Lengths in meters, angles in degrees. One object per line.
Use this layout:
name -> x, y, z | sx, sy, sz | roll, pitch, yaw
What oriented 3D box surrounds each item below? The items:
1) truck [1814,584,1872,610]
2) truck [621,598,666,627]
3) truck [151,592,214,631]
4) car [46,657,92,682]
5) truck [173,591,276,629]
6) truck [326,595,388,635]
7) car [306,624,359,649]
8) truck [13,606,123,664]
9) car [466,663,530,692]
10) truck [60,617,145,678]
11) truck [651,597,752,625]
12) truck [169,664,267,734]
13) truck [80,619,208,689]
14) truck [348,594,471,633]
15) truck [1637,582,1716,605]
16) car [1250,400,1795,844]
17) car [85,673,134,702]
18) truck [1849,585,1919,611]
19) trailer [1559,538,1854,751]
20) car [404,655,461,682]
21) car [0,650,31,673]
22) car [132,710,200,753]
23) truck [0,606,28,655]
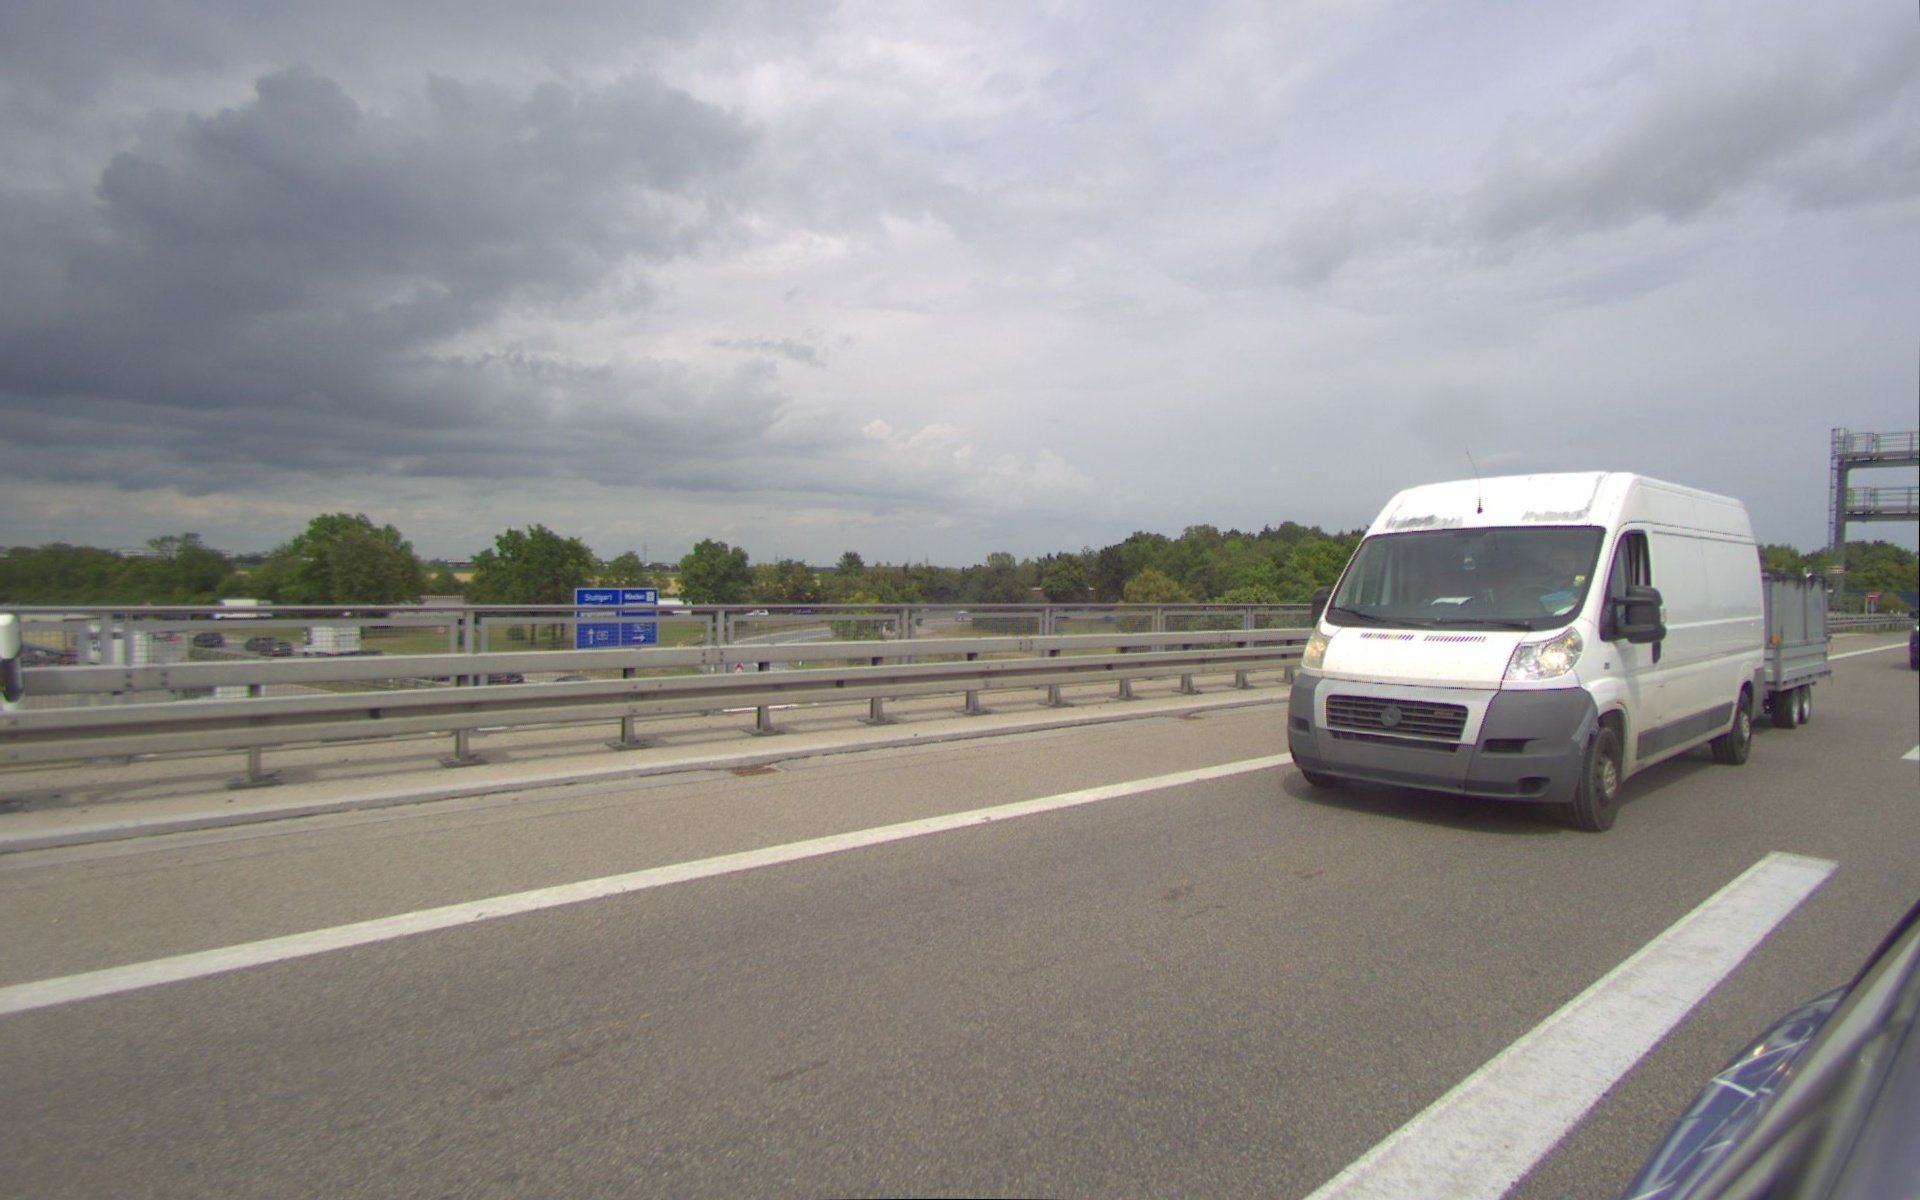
truck -> 131.740, -0.403, 151.017 | 5.825, 3.851, 2.897 | 1, -1, 6
truck -> -46.831, 1.816, 149.787 | 6.307, 4.240, 3.169 | 0, 0, -20
truck -> -109.976, 1.598, 143.254 | 6.338, 5.380, 3.848 | 0, 0, 10
car -> -64.704, 5.005, 73.461 | 3.976, 1.504, 1.715 | 1, 1, 37
truck -> -103.206, 1.381, 142.039 | 12.790, 5.105, 3.940 | 0, 0, 10
truck -> -83.075, 1.983, 139.578 | 6.313, 5.380, 3.863 | 0, 0, -6
car -> -55.135, 3.182, 88.862 | 4.635, 2.039, 2.159 | 0, 0, 32
truck -> -80.038, 2.957, 90.623 | 16.264, 4.612, 3.956 | 0, 0, 36
car -> -32.748, 5.451, 71.653 | 4.717, 1.631, 1.976 | 1, 1, 34
truck -> -69.552, 3.752, 82.064 | 6.254, 4.568, 3.882 | 0, 0, 36
truck -> -38.944, 1.713, 152.709 | 14.423, 4.141, 3.092 | 0, 0, -21
truck -> -41.420, 5.413, 56.405 | 7.520, 3.237, 2.203 | 0, 0, 36
truck -> -61.823, 3.860, 76.479 | 13.702, 4.612, 3.957 | 0, 0, 36
truck -> -76.326, 1.887, 140.681 | 14.550, 5.281, 3.867 | 0, 0, -10
truck -> 112.047, -0.992, 158.382 | 9.776, 3.446, 2.671 | 0, 0, 26
car -> 5.042, 0.131, 8.480 | 6.044, 2.485, 2.117 | 1, 0, -41
car -> -58.381, 5.986, 69.441 | 3.975, 1.575, 1.651 | 1, 1, 36
truck -> 139.275, -0.281, 150.170 | 11.586, 3.907, 2.842 | 0, 0, 6
trailer -> 8.900, 0.434, 11.911 | 4.550, 2.039, 1.858 | 1, 0, -41
car -> -39.802, 5.131, 76.368 | 4.435, 1.631, 1.976 | 1, 1, 34
car -> -76.407, 4.917, 81.482 | 3.976, 1.504, 1.715 | 1, 1, 37
car -> -39.696, 6.524, 50.565 | 3.975, 1.575, 1.651 | 1, 1, 36
truck -> -99.197, 3.005, 102.785 | 14.796, 4.612, 3.955 | 0, 0, 37
